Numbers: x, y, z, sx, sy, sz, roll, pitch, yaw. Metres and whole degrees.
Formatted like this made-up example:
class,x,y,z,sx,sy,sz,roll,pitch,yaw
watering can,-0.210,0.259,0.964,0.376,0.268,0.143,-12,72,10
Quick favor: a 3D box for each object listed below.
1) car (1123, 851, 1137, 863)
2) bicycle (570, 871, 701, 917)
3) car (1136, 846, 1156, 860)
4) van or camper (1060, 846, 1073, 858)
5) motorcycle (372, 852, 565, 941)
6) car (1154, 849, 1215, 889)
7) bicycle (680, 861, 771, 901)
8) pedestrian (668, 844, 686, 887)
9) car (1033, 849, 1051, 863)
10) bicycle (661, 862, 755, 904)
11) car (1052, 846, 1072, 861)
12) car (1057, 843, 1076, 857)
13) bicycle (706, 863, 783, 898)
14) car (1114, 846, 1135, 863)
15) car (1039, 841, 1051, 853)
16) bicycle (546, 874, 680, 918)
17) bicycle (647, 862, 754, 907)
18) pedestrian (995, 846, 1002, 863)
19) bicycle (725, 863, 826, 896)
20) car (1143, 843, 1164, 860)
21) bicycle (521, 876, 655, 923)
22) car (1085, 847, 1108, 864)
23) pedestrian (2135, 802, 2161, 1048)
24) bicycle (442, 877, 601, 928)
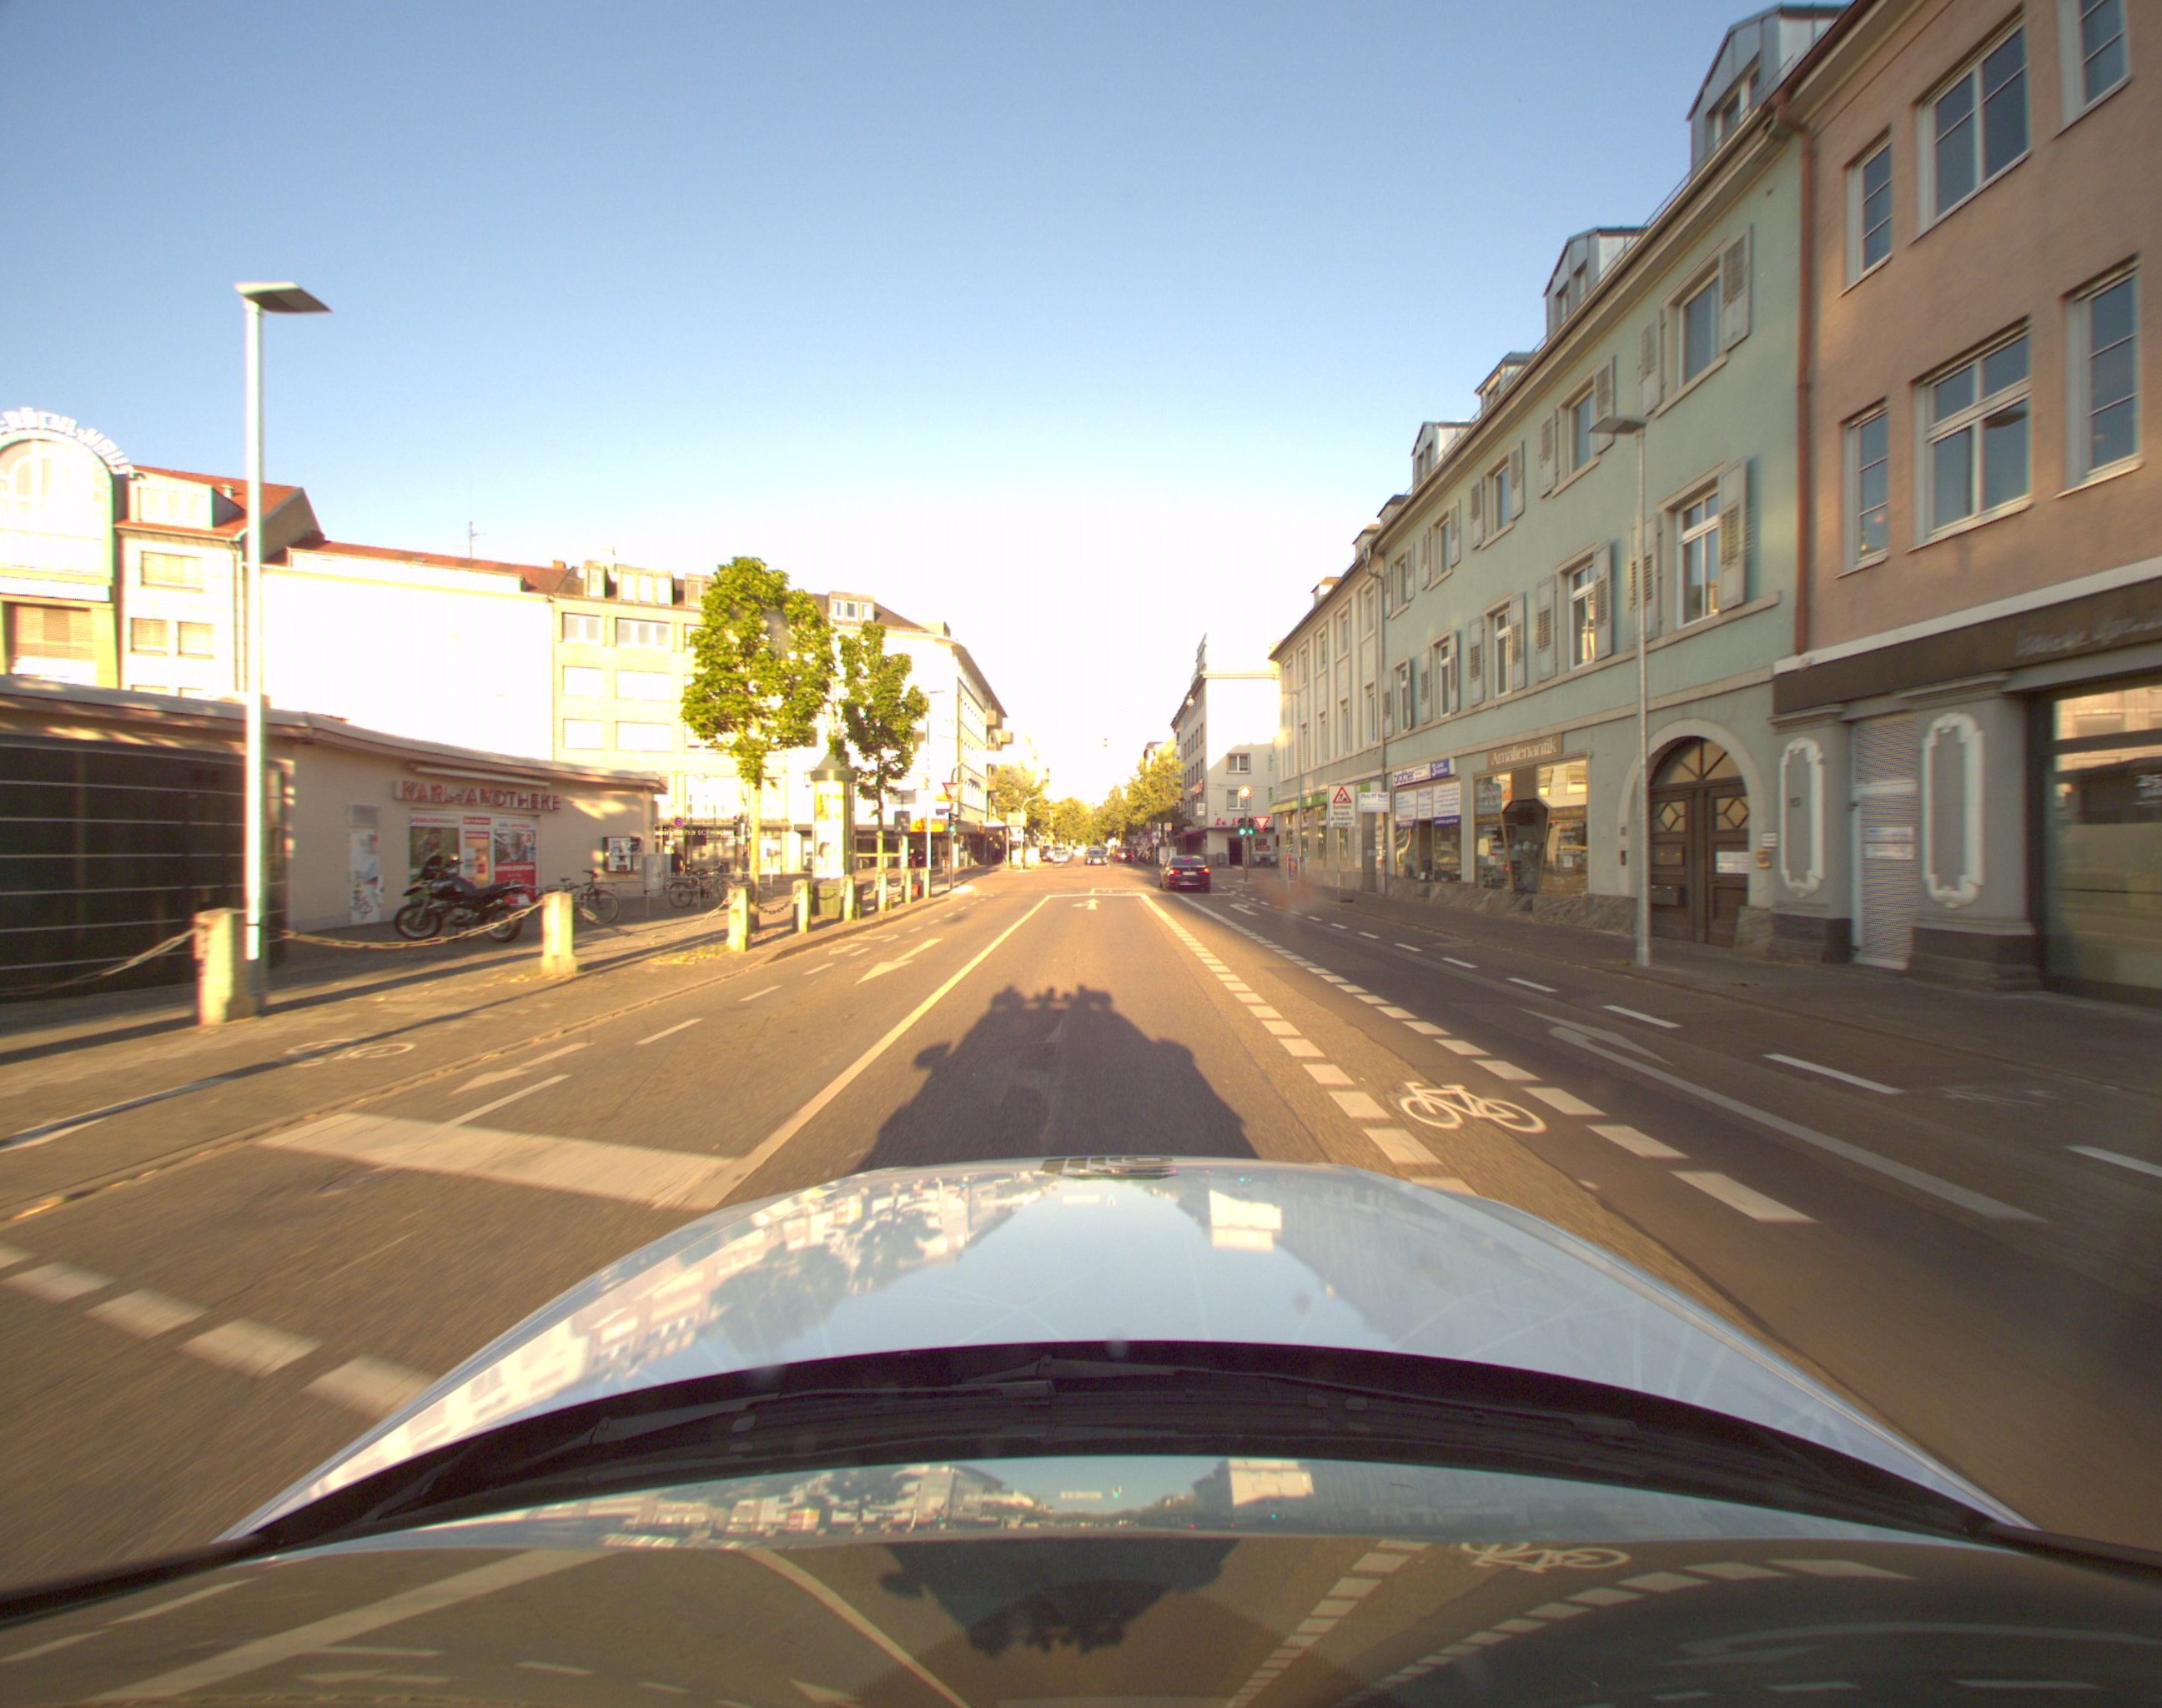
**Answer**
class,x,y,z,sx,sy,sz,roll,pitch,yaw
car,7.245,0.428,119.752,1.776,1.596,3.632,0,0,-2
bicycle,-10.378,0.918,19.058,2.516,0.997,0.933,0,0,-2
car,7.346,-0.105,92.275,1.986,1.617,4.002,0,0,2
van or camper,-2.892,-0.371,159.084,2.466,2.405,3.996,0,0,-3
motorcycle,-10.305,0.695,13.790,2.405,1.426,1.113,0,0,0
car,4.110,0.552,32.877,1.883,1.492,4.203,0,0,-1
bicycle,-10.389,0.795,23.869,2.314,1.131,0.800,0,0,2
pedestrian,-15.366,0.430,30.999,0.551,1.610,0.636,0,0,-33
car,-4.807,0.227,101.199,1.886,1.596,4.003,0,0,3
bicycle,-10.489,0.804,22.953,2.229,1.135,0.811,0,0,-2
car,-2.062,-0.024,88.638,1.886,1.596,4.003,0,0,3
car,-1.738,-0.498,99.850,1.985,1.750,4.003,0,0,3
bicycle,-10.410,0.815,25.219,2.084,1.063,0.682,0,0,1
car,4.430,0.027,83.050,1.986,1.750,4.002,0,0,1
car,-6.626,-1.283,148.407,1.820,2.013,3.679,0,0,3
bicycle,-10.283,0.914,17.938,2.516,0.919,0.700,0,0,-2
bicycle,-10.132,0.802,21.734,2.516,1.146,0.700,0,0,-2
pedestrian,-8.158,0.024,80.308,0.600,1.721,0.575,0,0,-13
bicycle,-9.765,0.804,26.089,2.929,1.022,0.844,0,0,3
car,7.363,-0.262,83.022,1.986,1.779,4.002,0,0,2
bicycle,-10.224,0.929,16.944,2.320,0.919,0.700,0,0,-2
car,1.431,0.085,73.190,1.877,1.486,4.003,0,0,3
pedestrian,8.201,0.516,5.526,0.755,1.777,1.047,0,0,-3
bicycle,-10.680,0.911,15.607,2.516,0.919,0.700,0,0,-2
